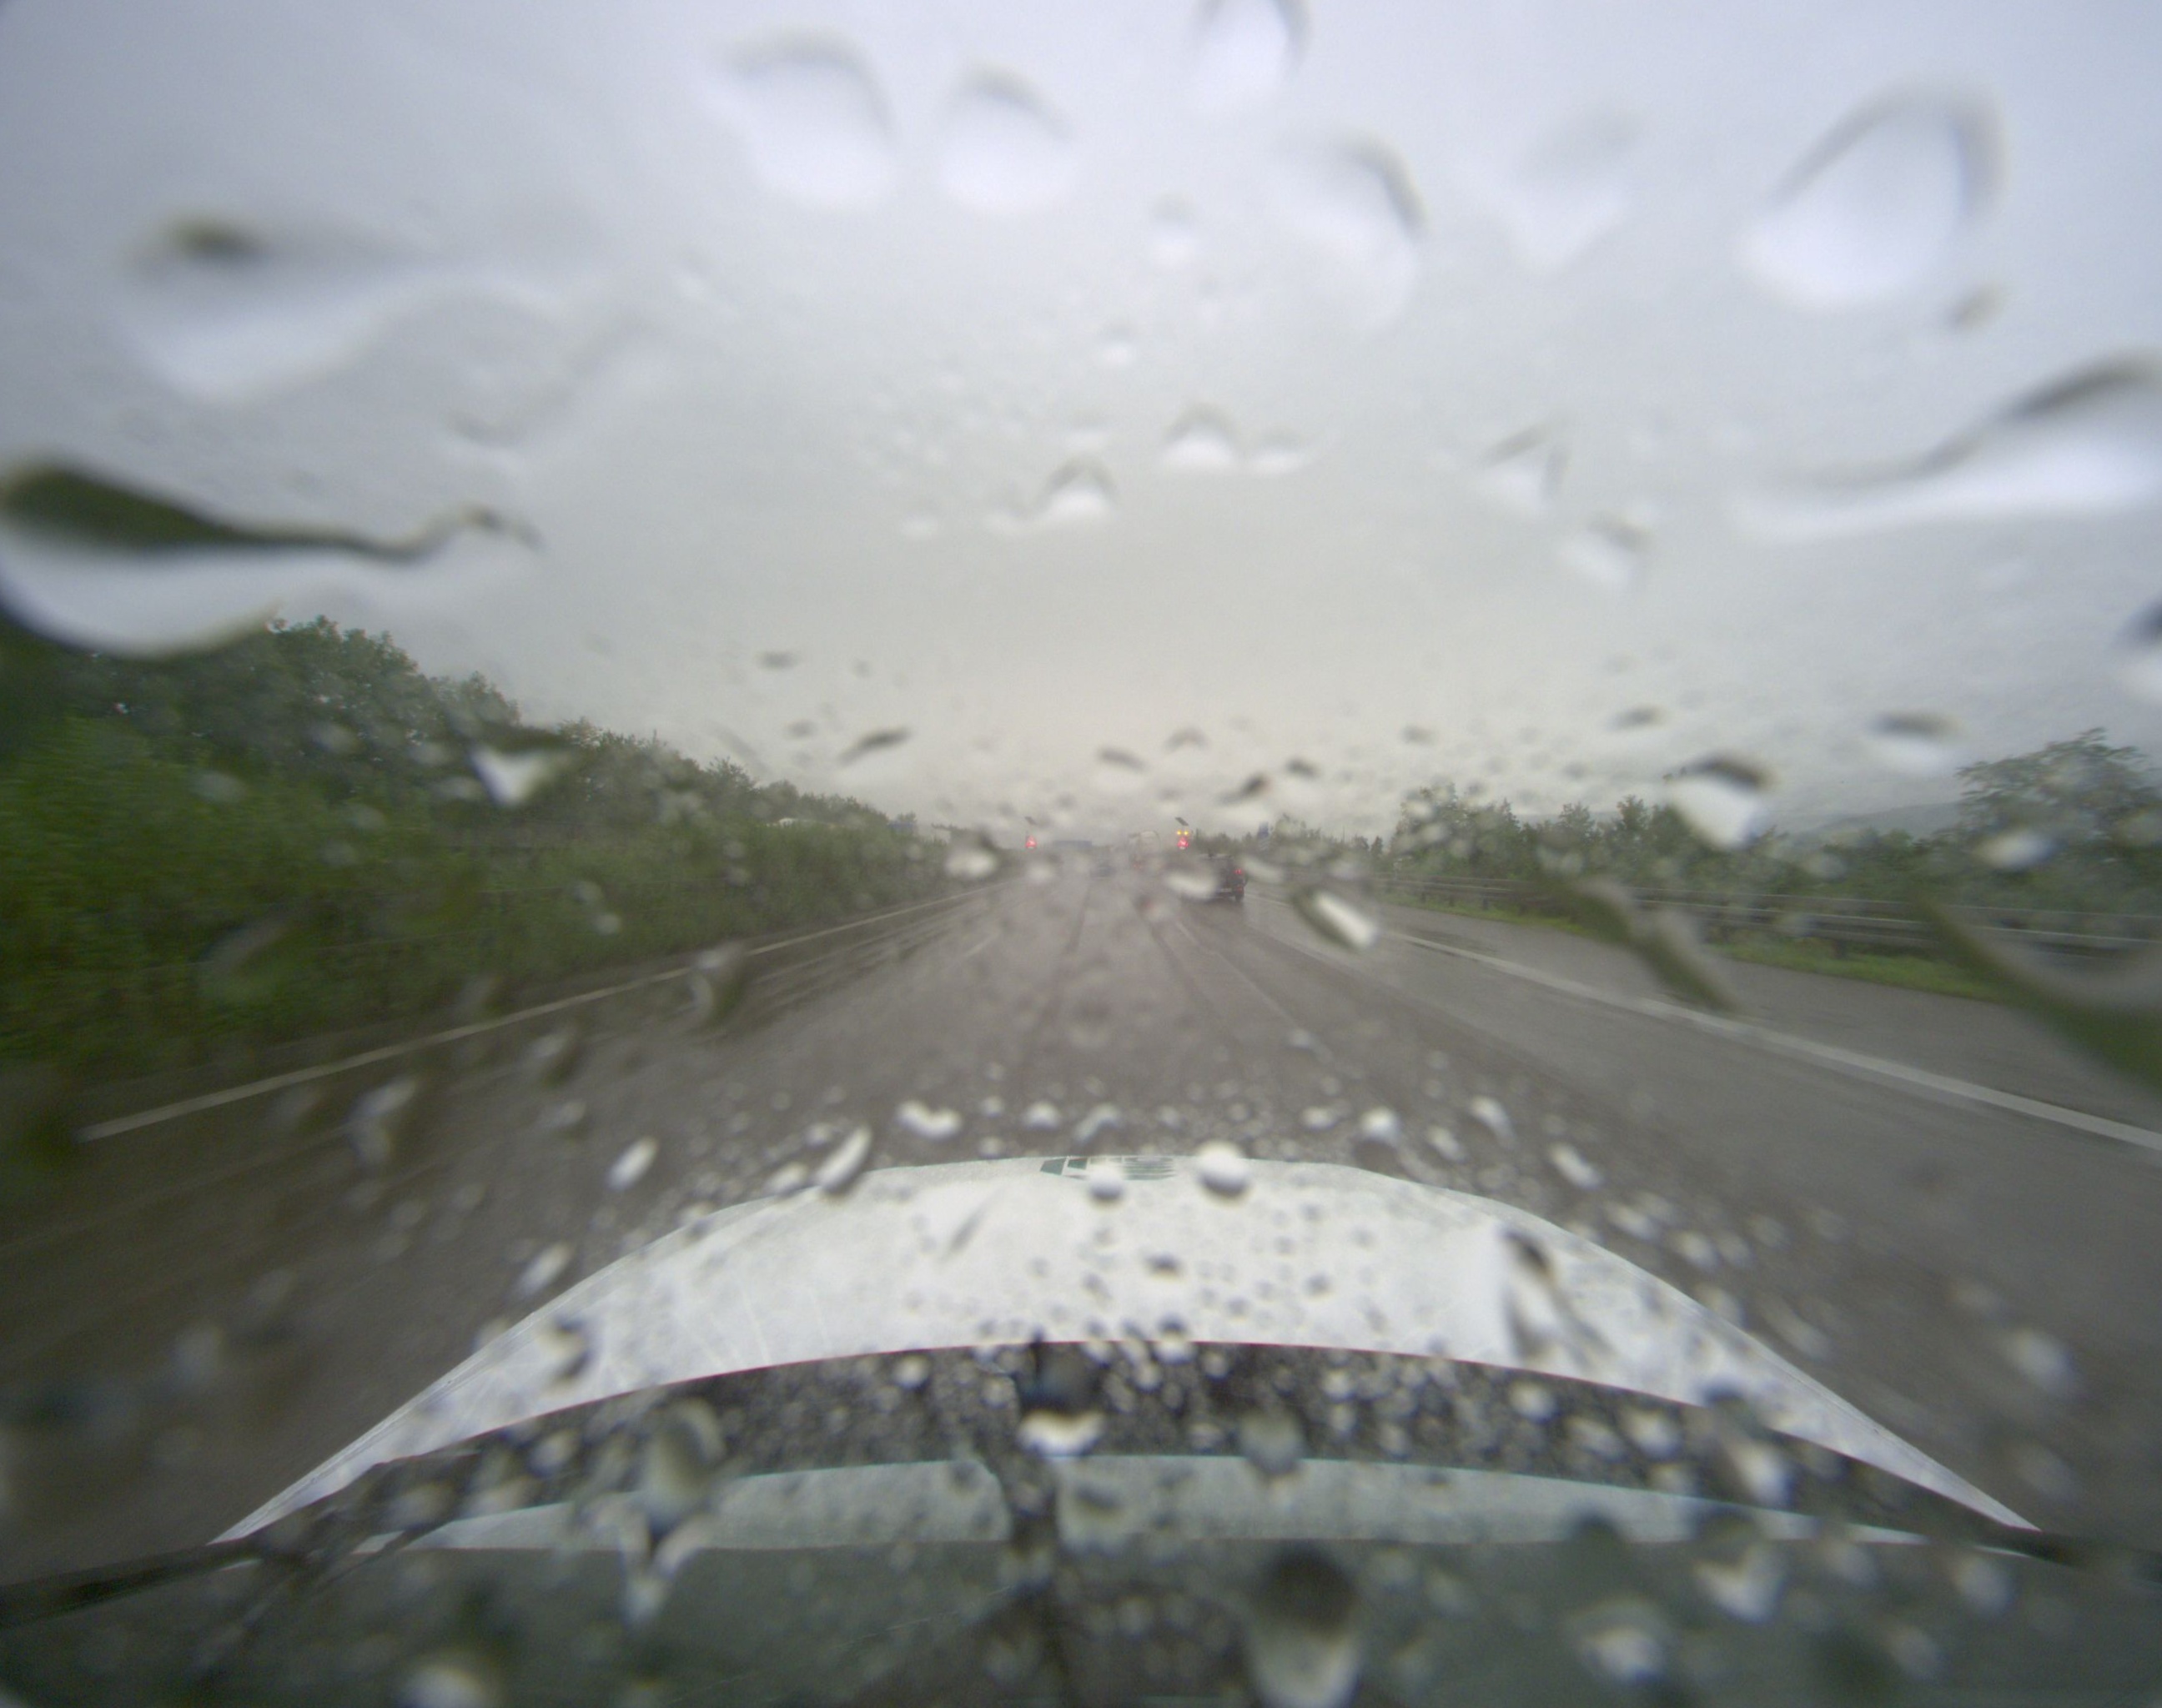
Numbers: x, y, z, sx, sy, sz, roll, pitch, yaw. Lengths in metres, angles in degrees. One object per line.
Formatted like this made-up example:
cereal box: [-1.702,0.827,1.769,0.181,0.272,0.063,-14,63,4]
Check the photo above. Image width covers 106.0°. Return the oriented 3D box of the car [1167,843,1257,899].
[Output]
car: [4.463,0.548,28.776,2.448,1.746,5.721,-1,0,2]

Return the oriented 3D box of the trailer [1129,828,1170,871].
trailer: [6.243,-0.374,76.277,3.176,3.670,11.671,-1,0,2]

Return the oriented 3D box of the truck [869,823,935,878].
truck: [-15.953,-0.278,73.350,3.824,4.639,9.406,0,0,0]

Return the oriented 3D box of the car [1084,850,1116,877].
car: [1.270,0.608,54.265,1.971,1.756,4.482,-1,0,1]

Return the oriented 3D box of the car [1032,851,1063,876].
car: [-2.371,0.653,58.861,1.918,1.741,4.405,-1,0,1]

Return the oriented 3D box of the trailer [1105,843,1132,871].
trailer: [5.465,0.435,120.320,2.999,3.848,8.610,-1,0,-4]
